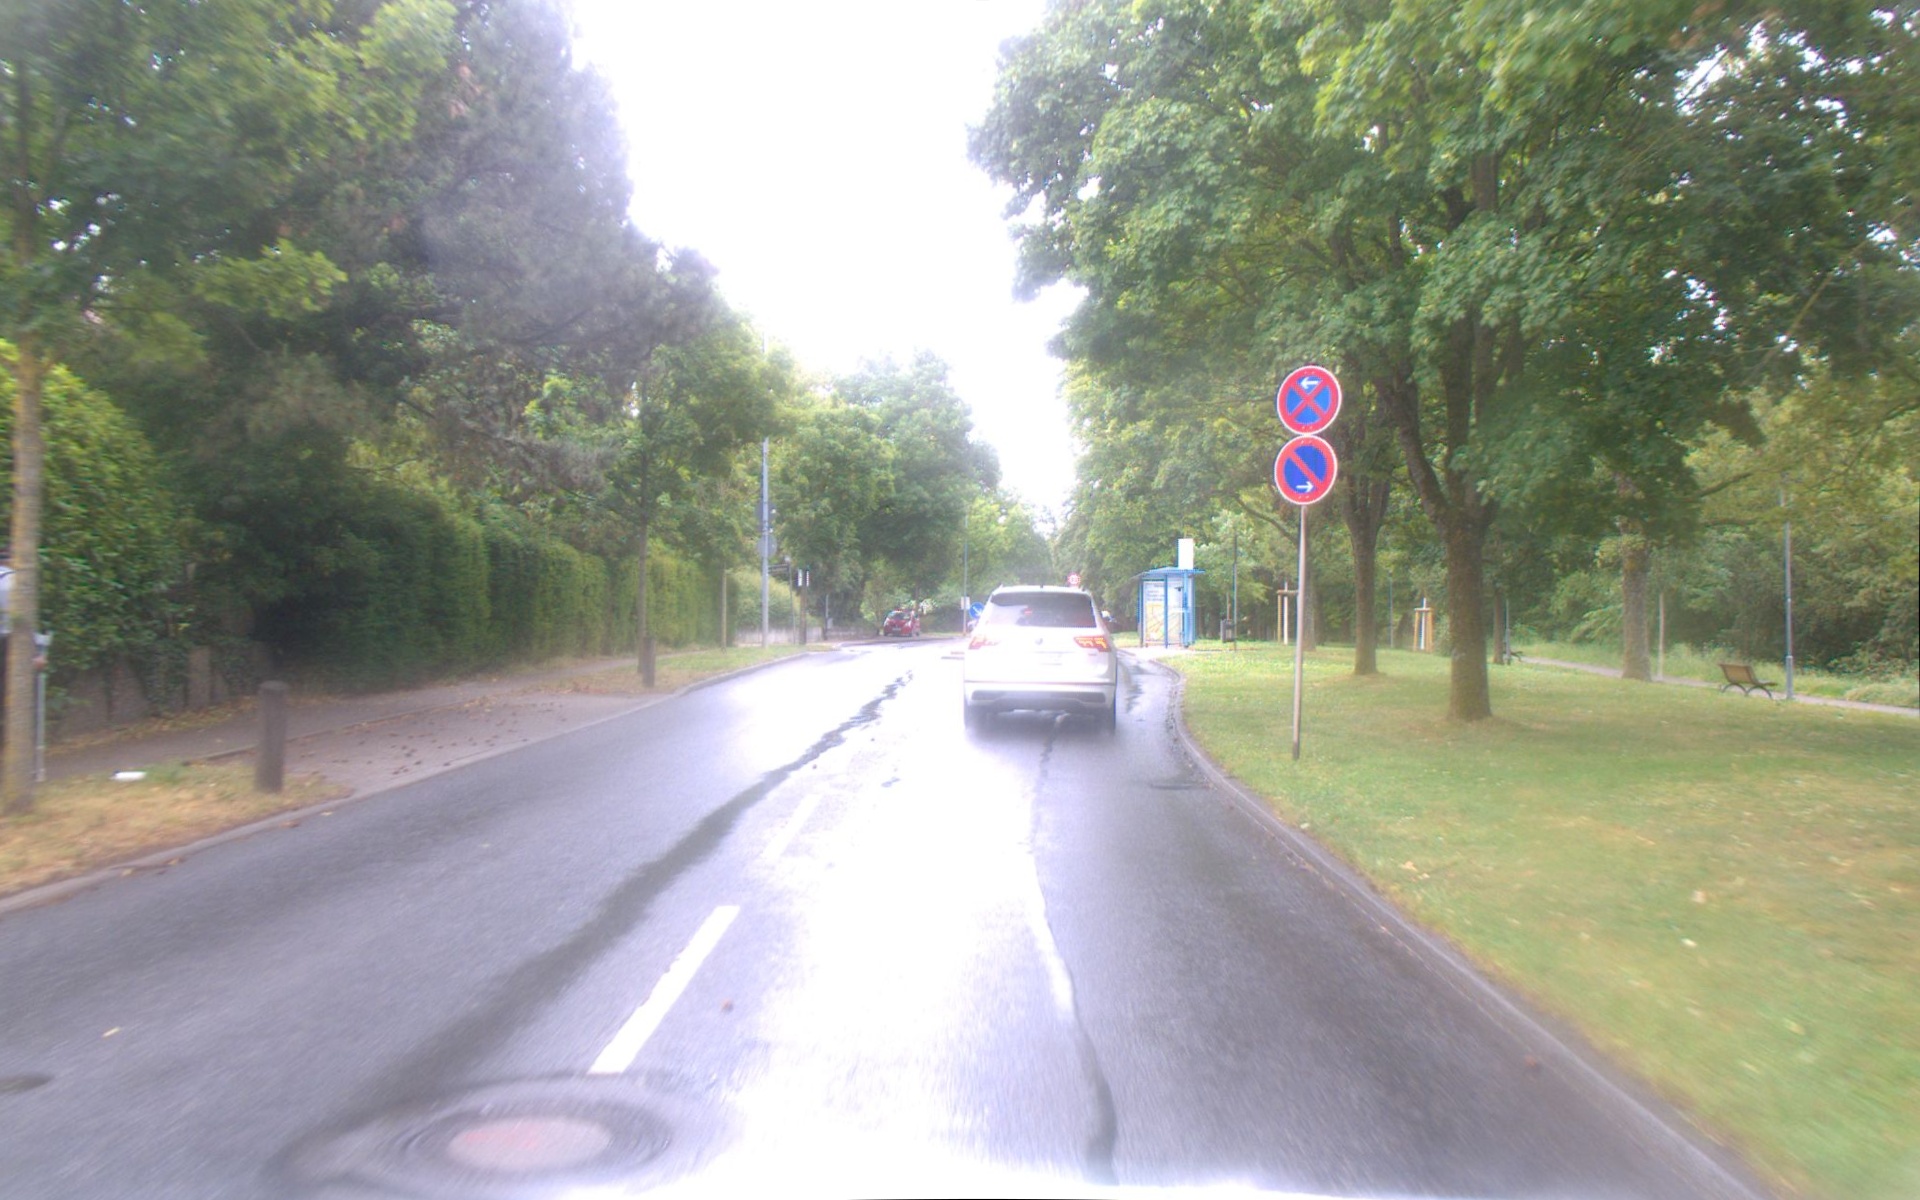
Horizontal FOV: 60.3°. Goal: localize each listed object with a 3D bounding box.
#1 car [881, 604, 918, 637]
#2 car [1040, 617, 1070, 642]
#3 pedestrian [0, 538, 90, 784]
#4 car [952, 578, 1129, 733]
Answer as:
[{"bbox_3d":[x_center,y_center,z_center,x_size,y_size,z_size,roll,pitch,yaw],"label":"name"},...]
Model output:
[{"bbox_3d":[-3.513,1.188,96.474,1.953,1.793,3.999,2,-2,0],"label":"car"},{"bbox_3d":[7.232,2.274,126.366,1.953,1.836,3.999,2,-2,-1],"label":"car"},{"bbox_3d":[-6.753,0.417,11.786,0.764,1.691,0.840,1,0,-14],"label":"pedestrian"},{"bbox_3d":[1.007,0.613,20.345,1.933,1.682,4.179,1,0,3],"label":"car"}]
